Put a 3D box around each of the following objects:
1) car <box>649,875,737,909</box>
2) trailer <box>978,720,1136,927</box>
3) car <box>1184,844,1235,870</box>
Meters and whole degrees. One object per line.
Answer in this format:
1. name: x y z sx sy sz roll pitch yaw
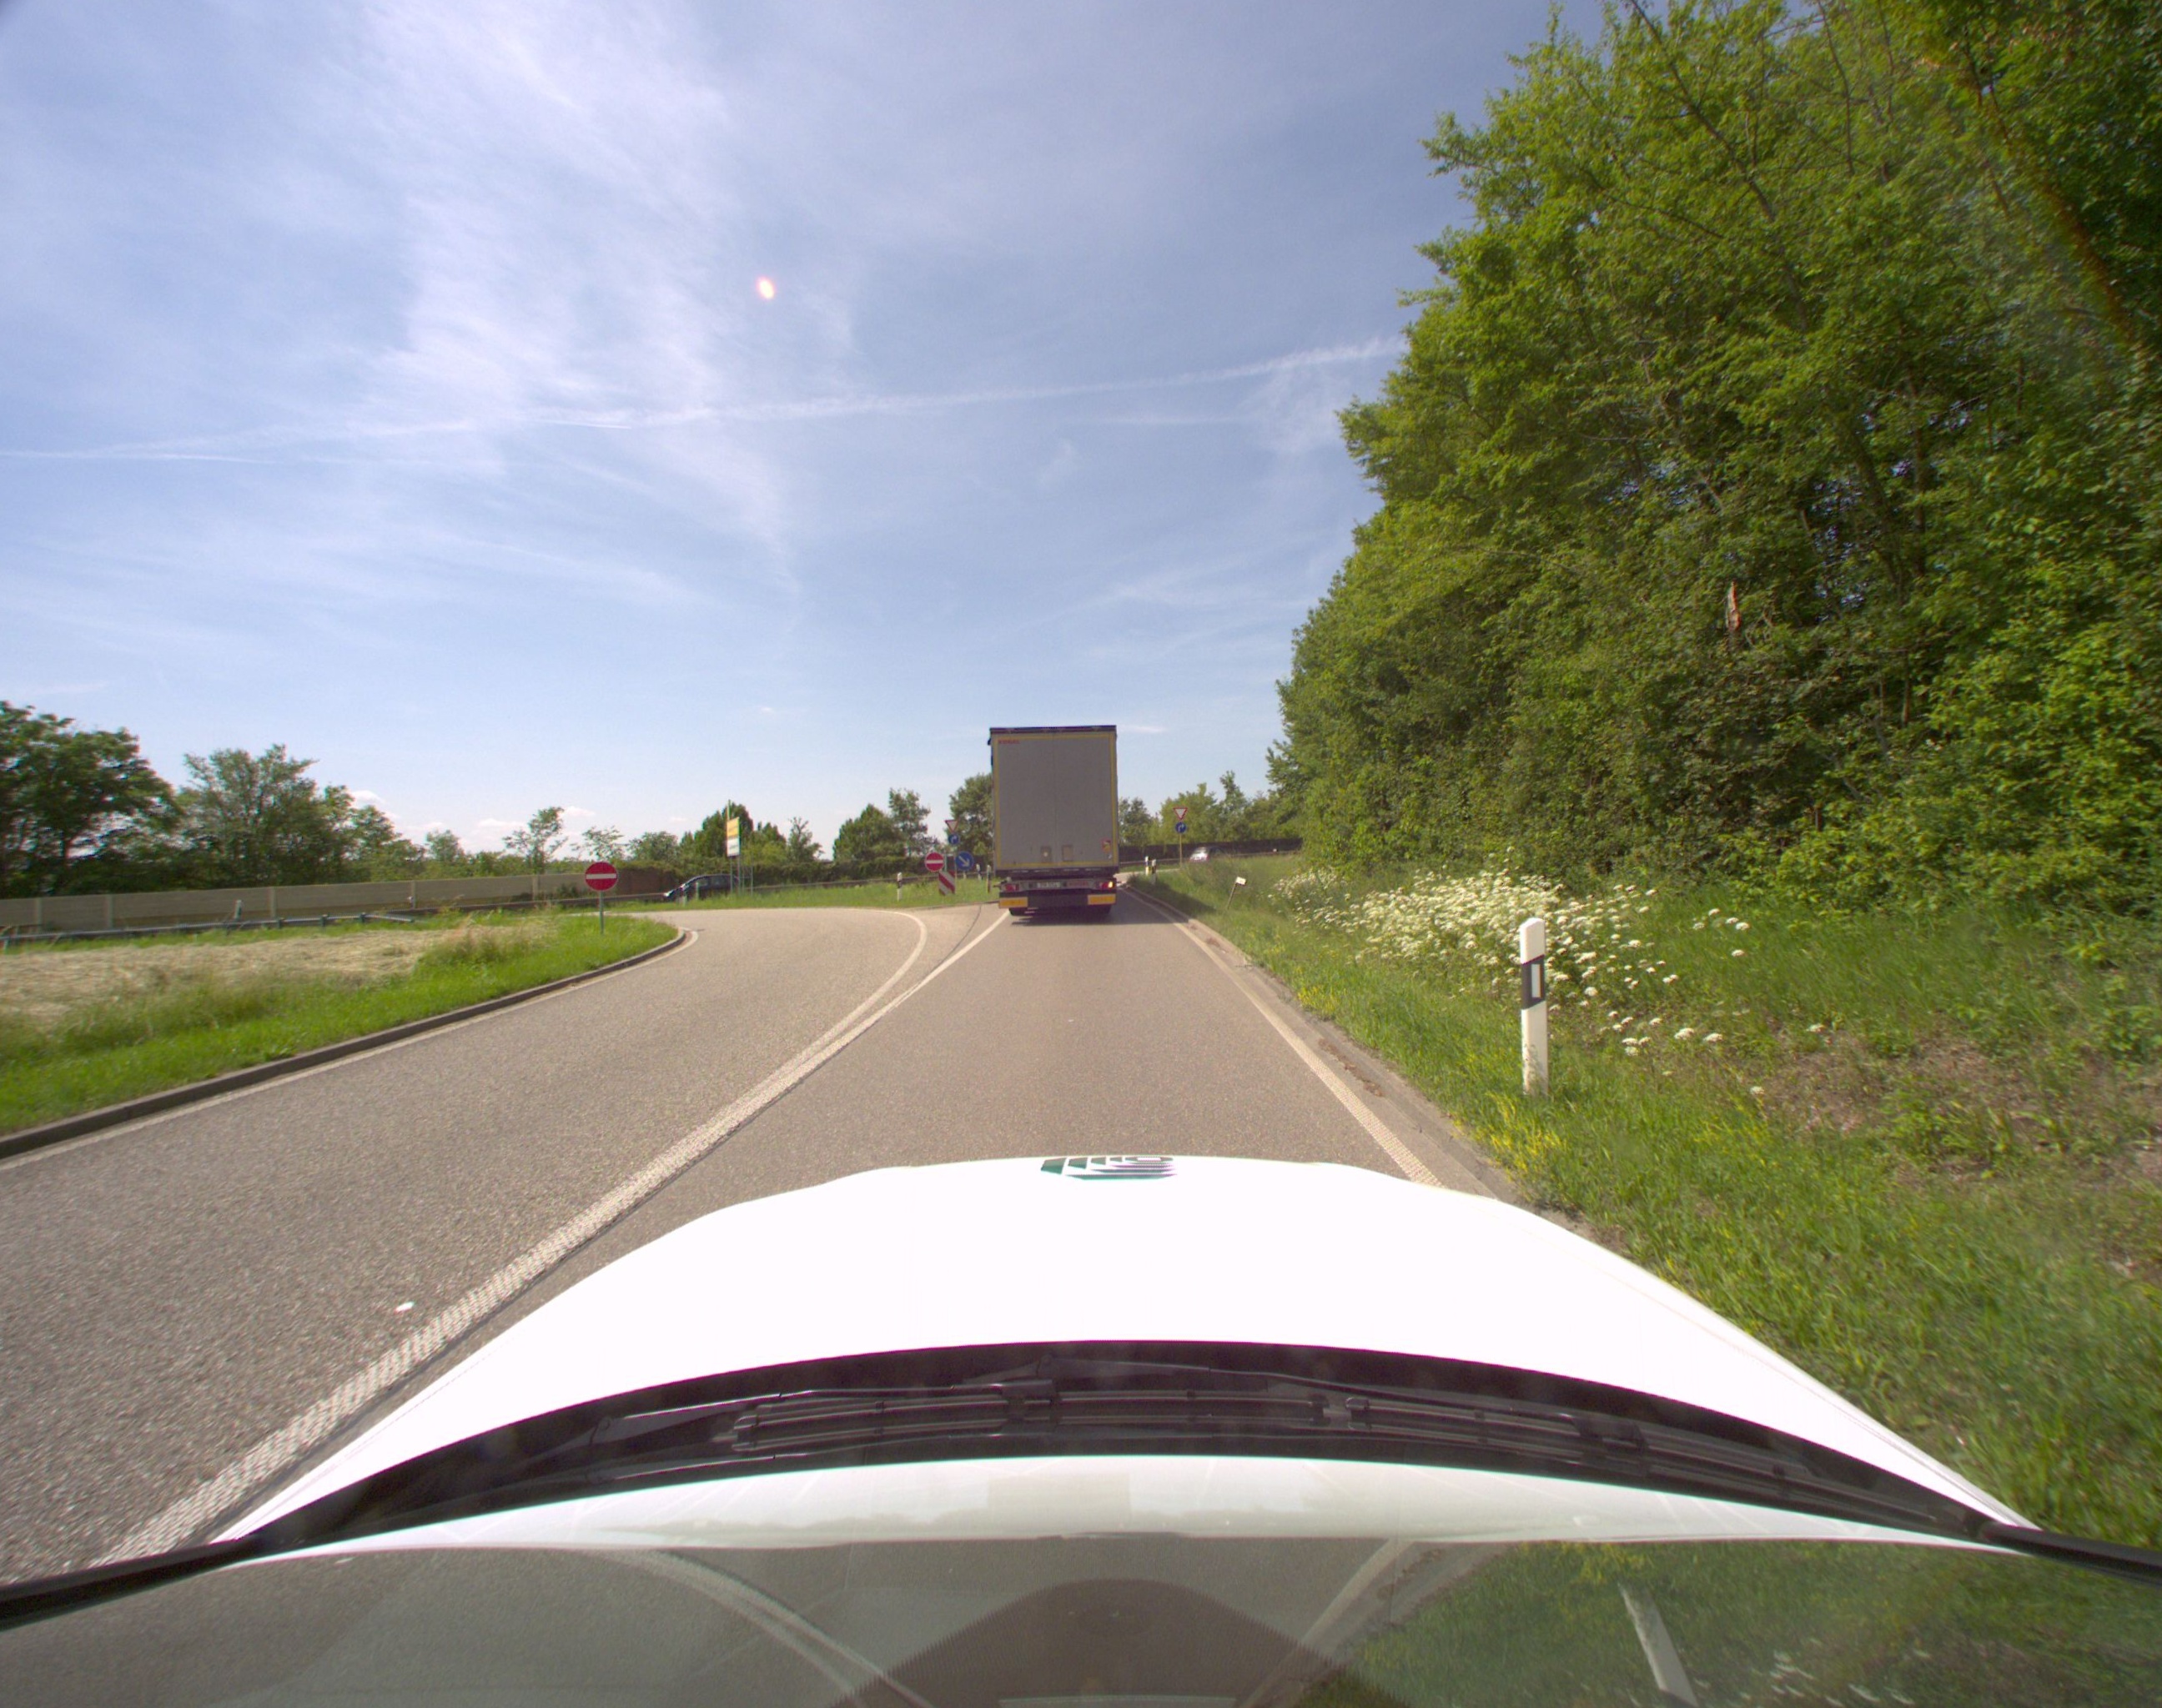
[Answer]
1. car: -20.946 1.996 43.969 4.120 1.538 1.738 -3 0 -31
2. trailer: -0.537 -0.653 22.889 3.018 4.034 13.347 -2 0 -1
3. car: 8.414 0.162 52.977 1.650 1.486 4.026 -3 0 34
